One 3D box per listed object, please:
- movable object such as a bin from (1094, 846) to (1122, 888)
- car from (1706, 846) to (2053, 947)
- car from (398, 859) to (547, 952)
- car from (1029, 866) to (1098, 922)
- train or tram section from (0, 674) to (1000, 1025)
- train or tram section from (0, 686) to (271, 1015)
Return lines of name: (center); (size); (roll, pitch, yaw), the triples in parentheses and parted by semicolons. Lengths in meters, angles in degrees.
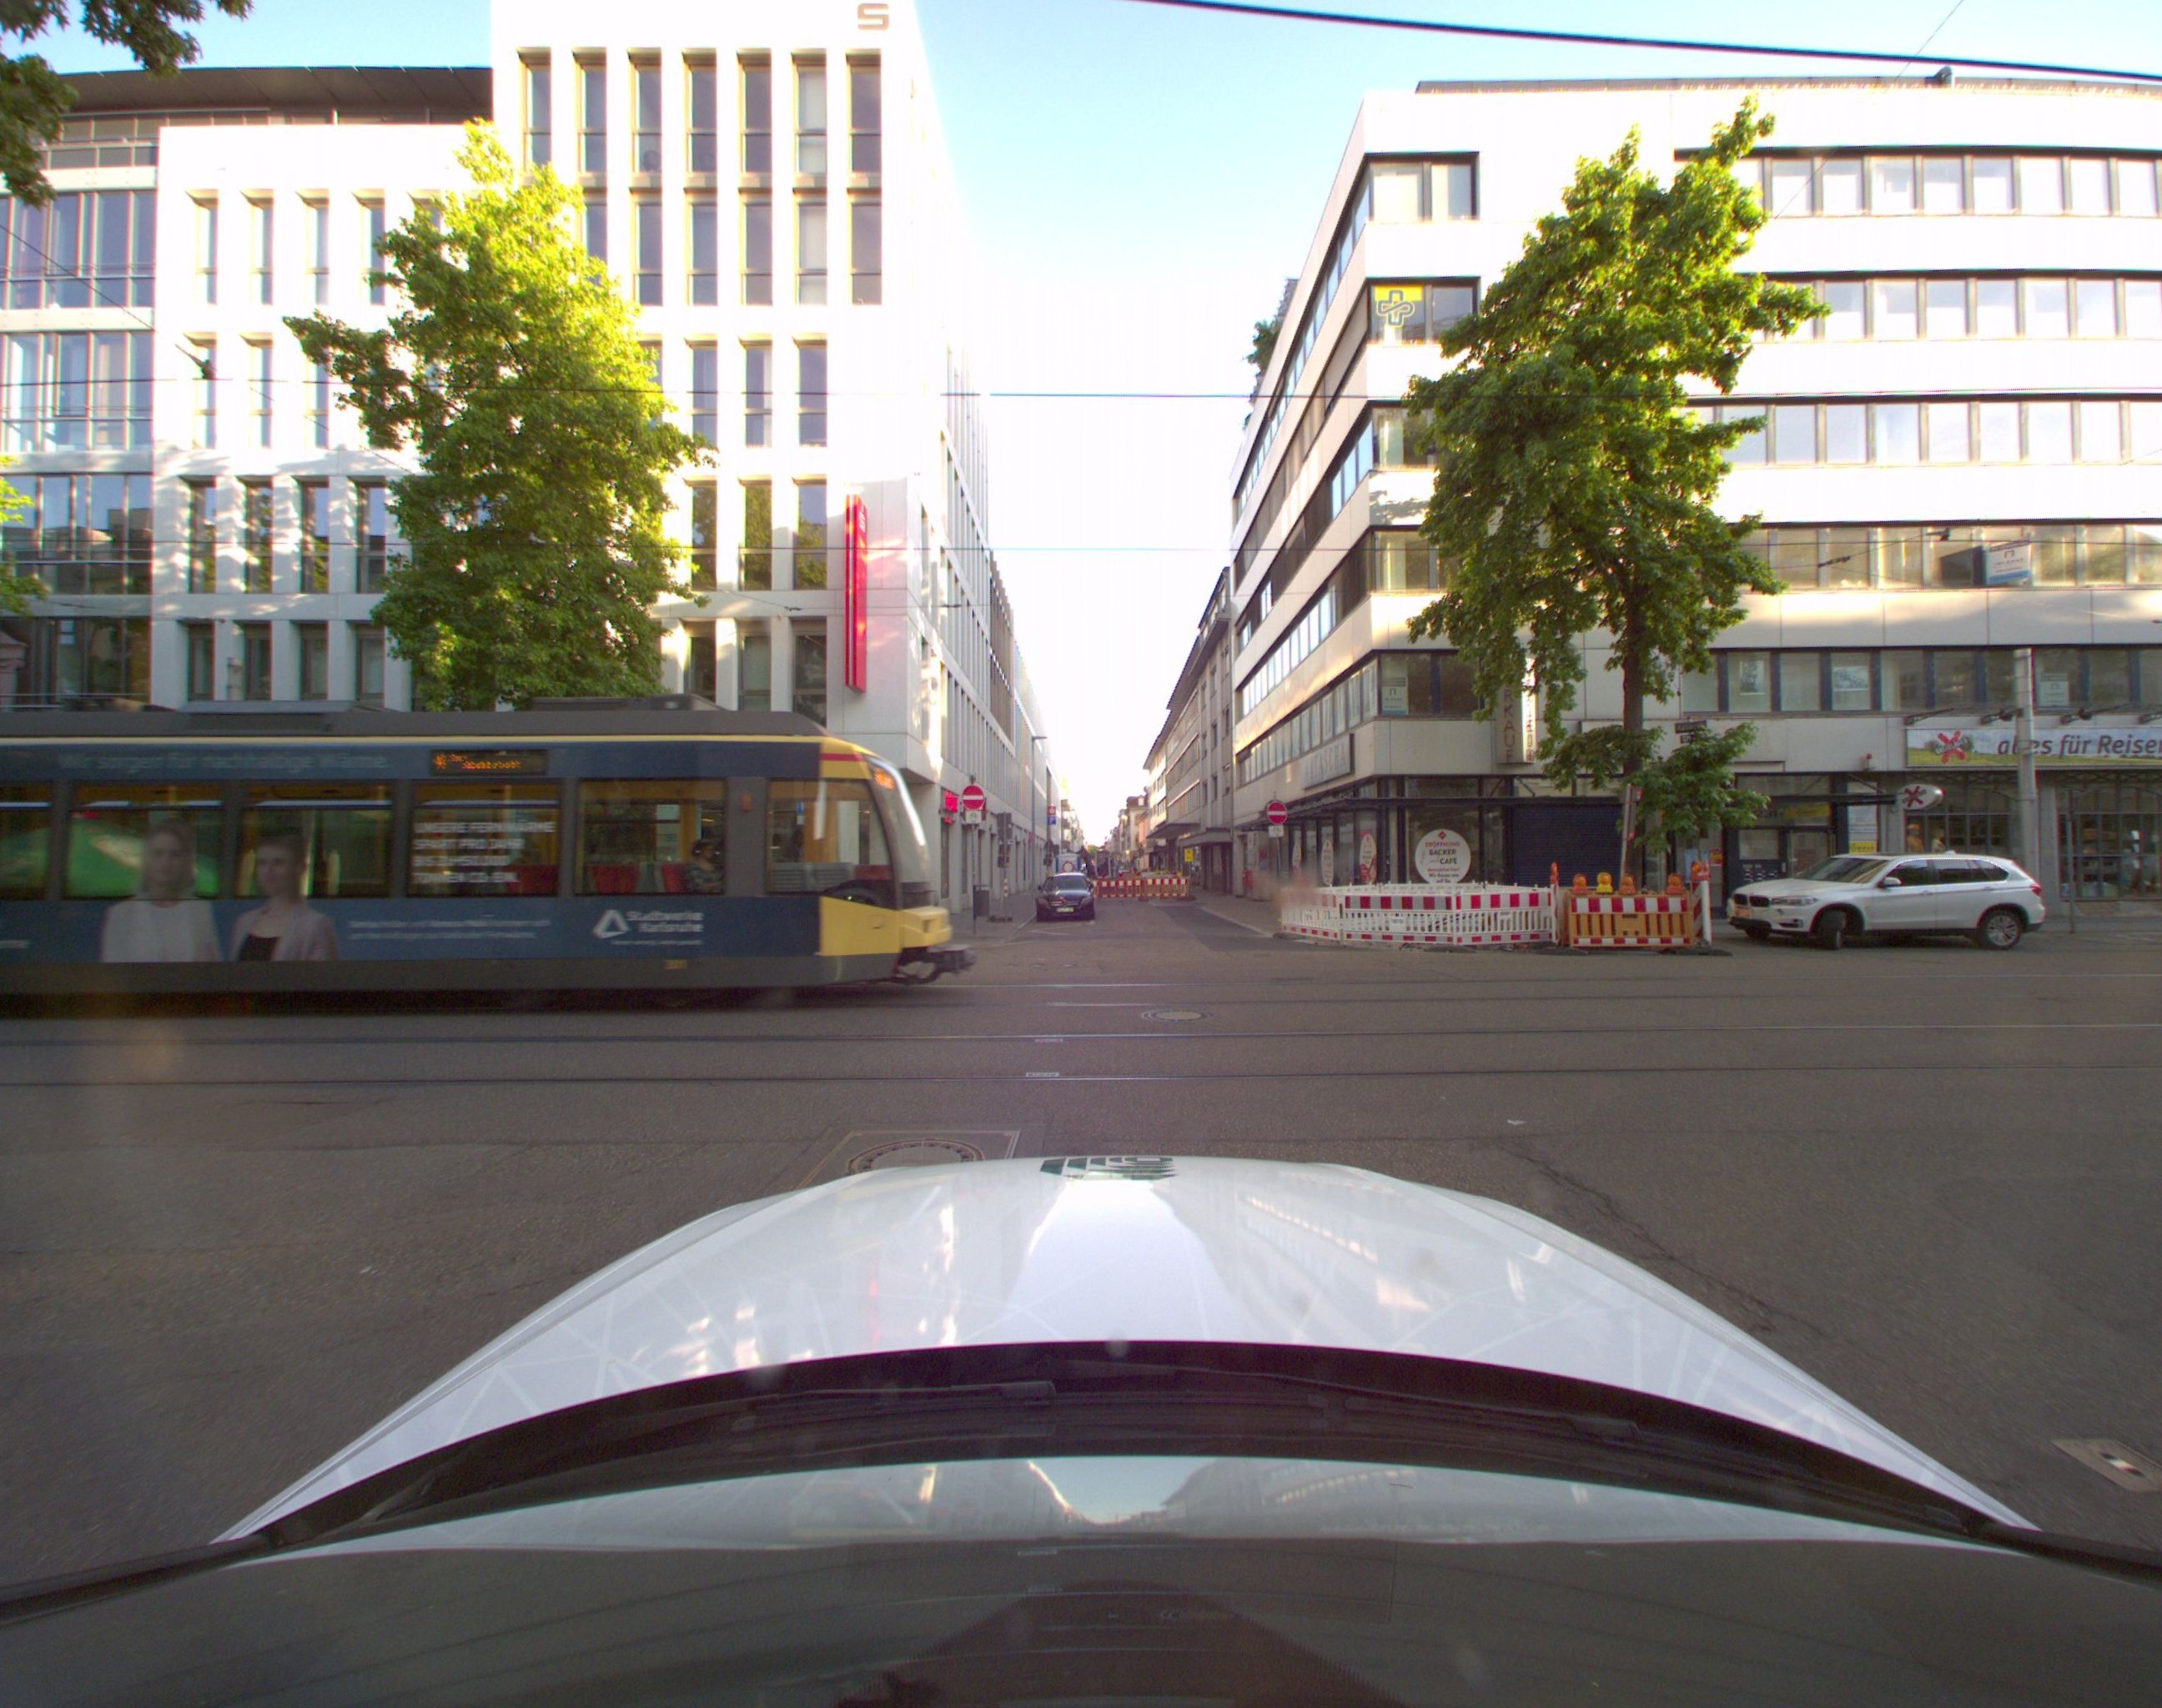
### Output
movable object such as a bin: (1.672, 0.801, 49.840); (1.428, 2.494, 1.762); (-1, -1, 9)
car: (15.108, 0.757, 15.646); (4.636, 1.771, 2.002); (0, 1, 2)
car: (-12.205, 0.930, 16.604); (1.801, 1.501, 4.031); (-2, 2, -28)
car: (-0.473, 1.241, 26.451); (1.889, 1.612, 4.155); (-1, -1, 3)
train or tram section: (-6.345, -0.027, 10.072); (10.301, 3.524, 3.026); (-1, -1, 0)
train or tram section: (-16.709, 0.061, 10.033); (10.333, 3.524, 3.017); (-1, -2, 0)
